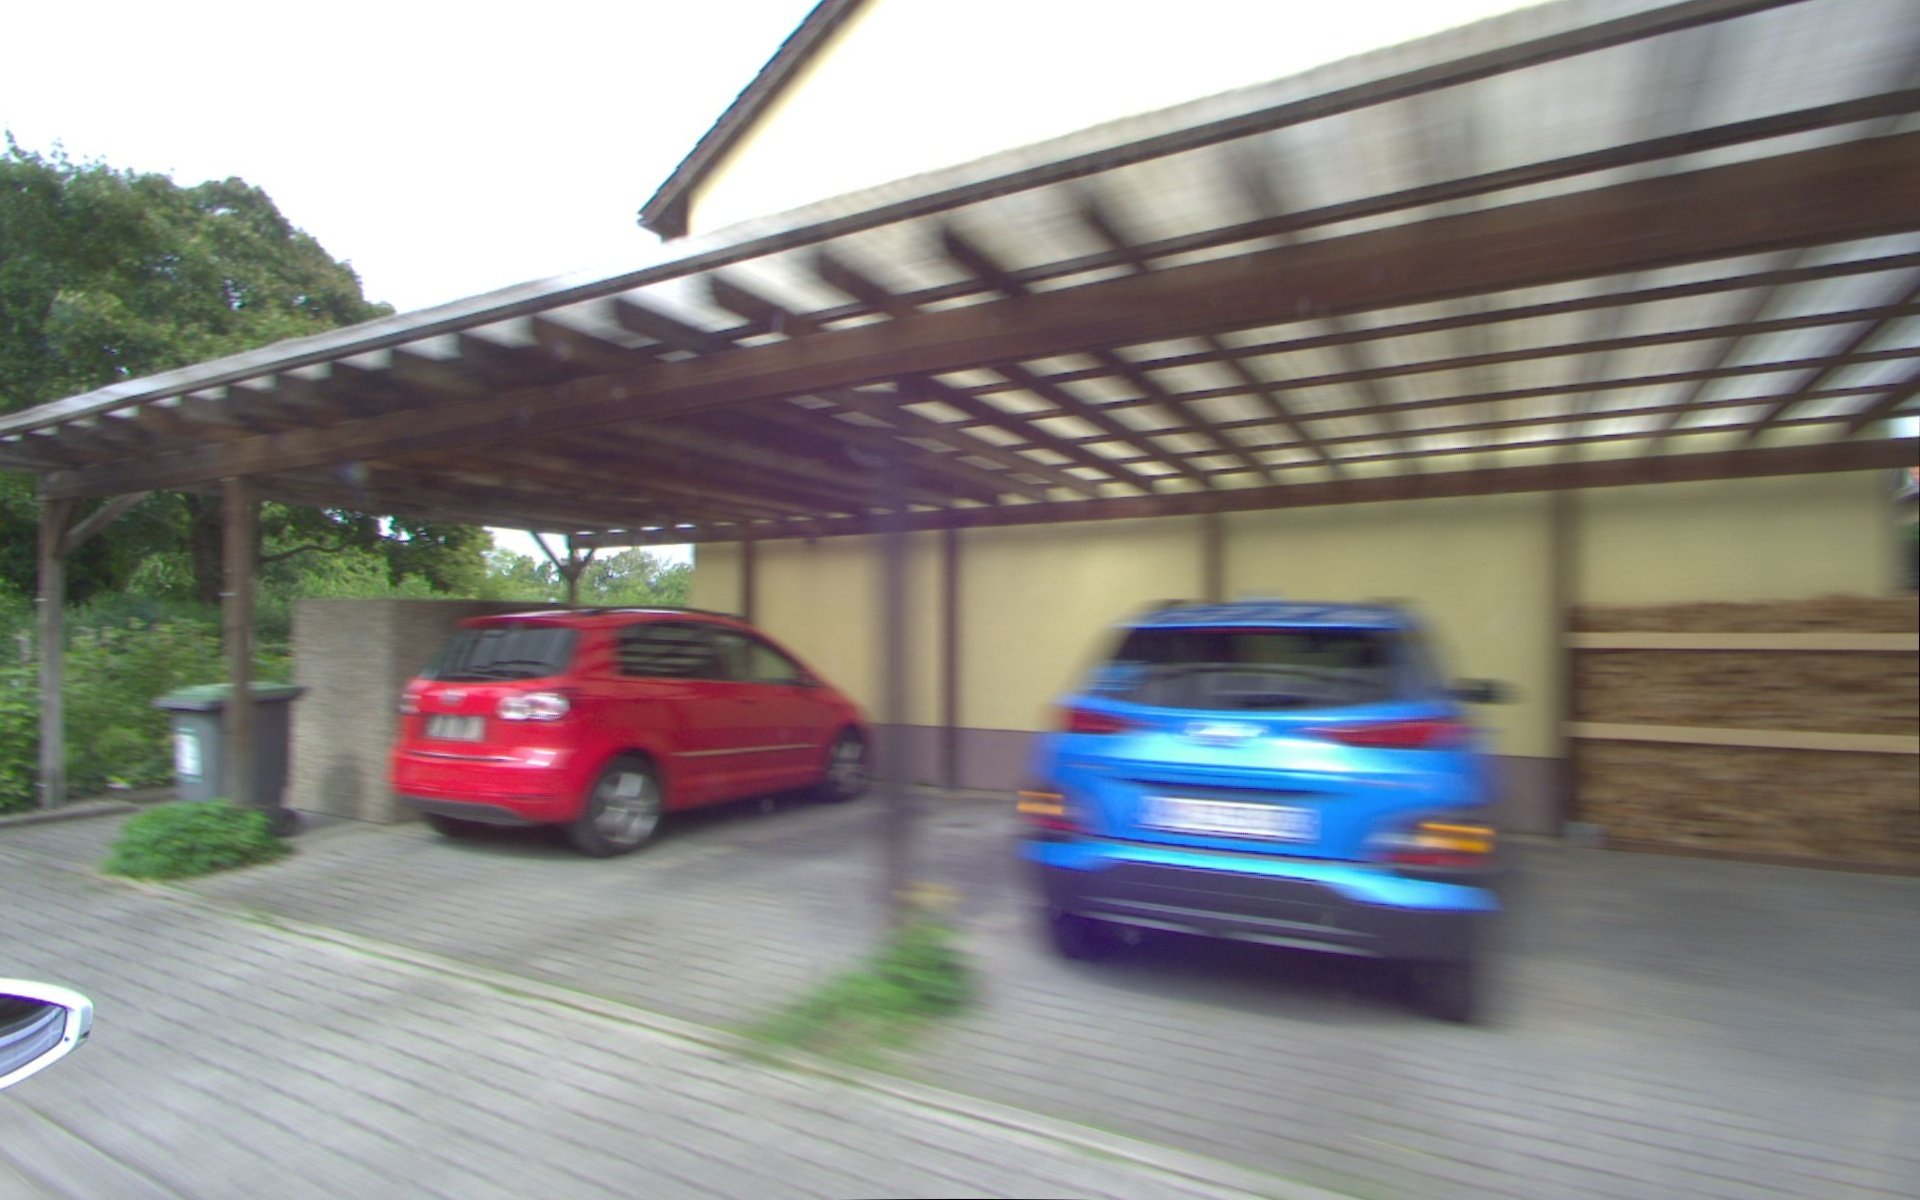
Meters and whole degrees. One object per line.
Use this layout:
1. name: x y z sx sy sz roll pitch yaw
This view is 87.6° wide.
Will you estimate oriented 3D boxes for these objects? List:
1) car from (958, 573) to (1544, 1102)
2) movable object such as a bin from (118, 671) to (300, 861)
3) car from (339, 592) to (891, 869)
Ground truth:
1. car: 1.746 0.760 5.180 1.919 1.542 4.046 0 -2 26
2. movable object such as a bin: -4.818 1.025 6.445 0.700 1.086 0.699 0 -1 26
3. car: -2.322 0.801 7.838 1.810 1.560 3.957 0 -2 26
